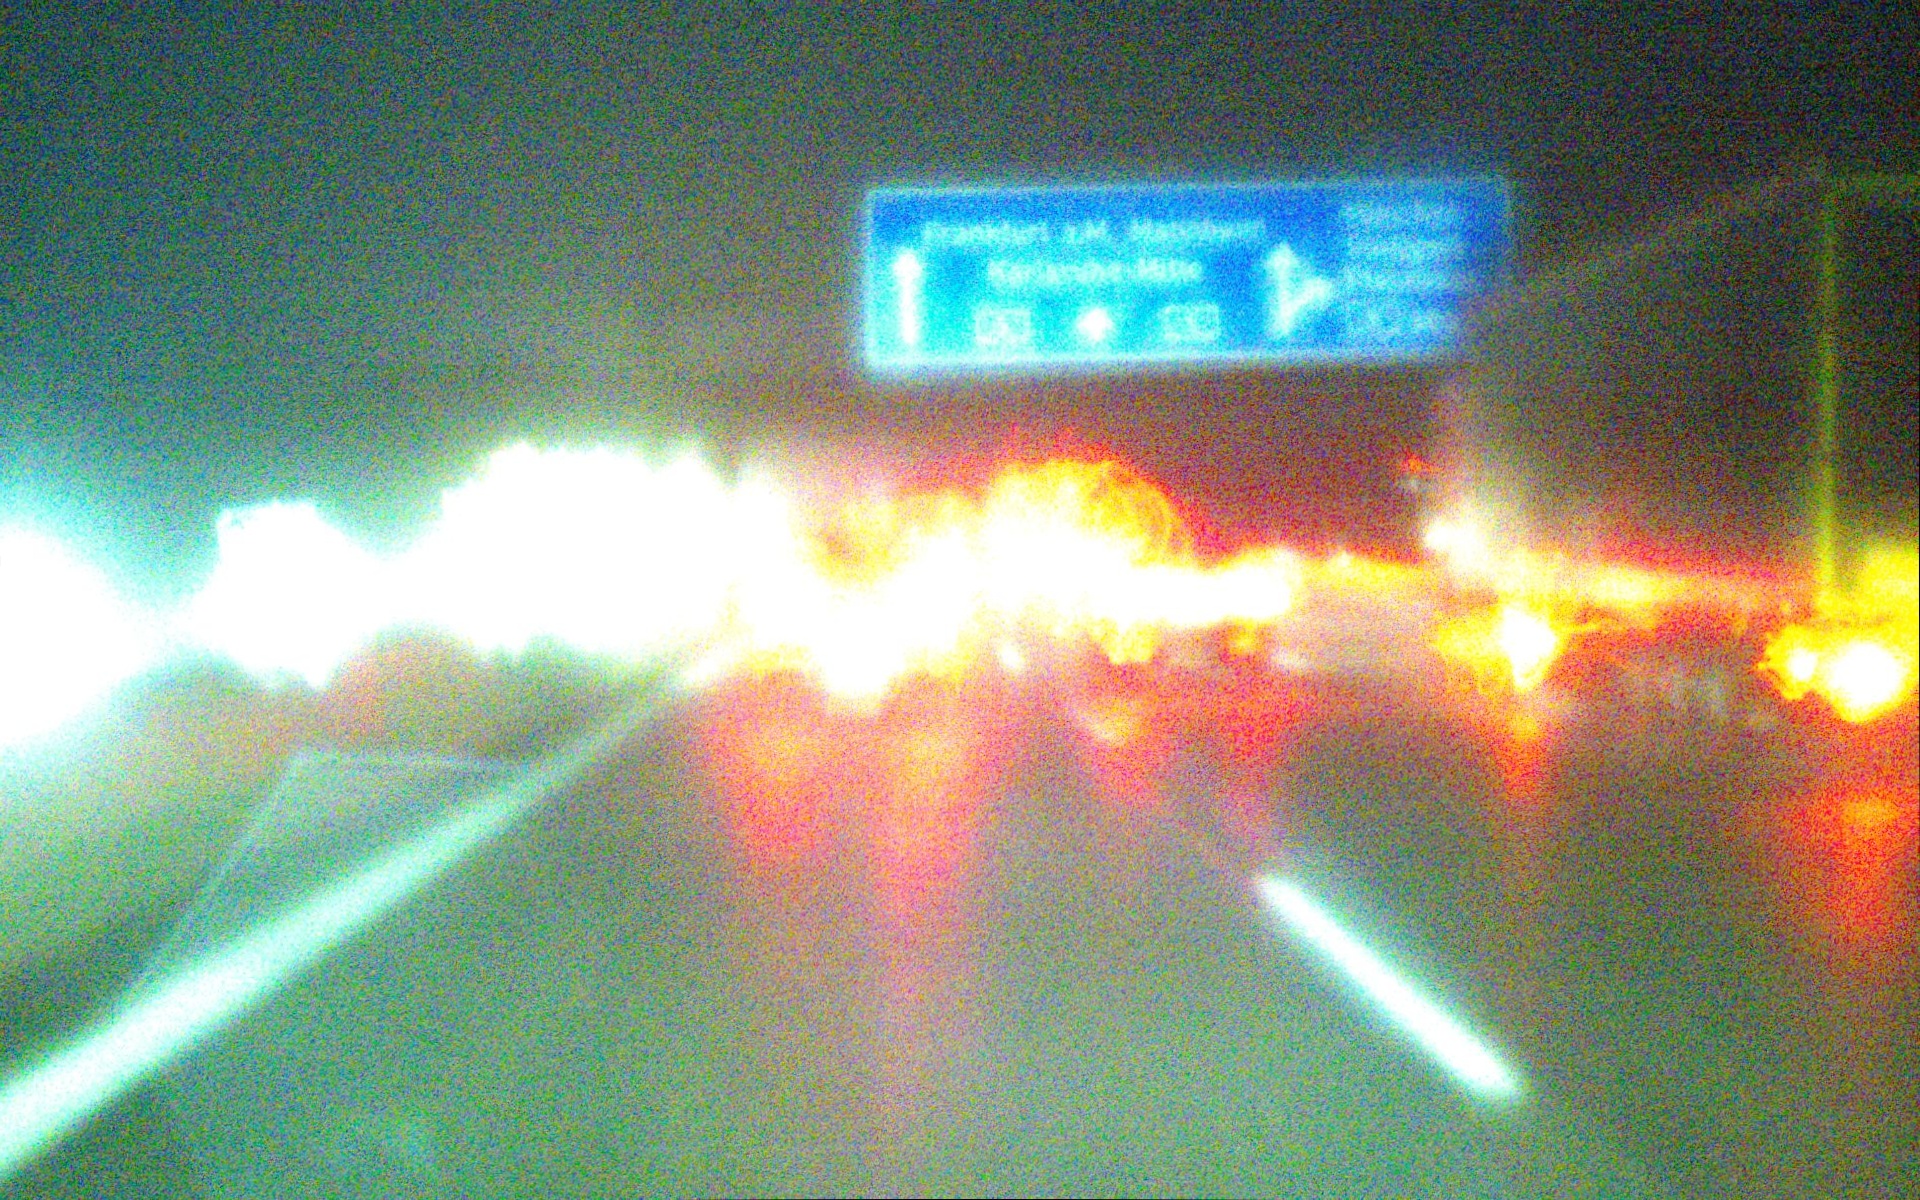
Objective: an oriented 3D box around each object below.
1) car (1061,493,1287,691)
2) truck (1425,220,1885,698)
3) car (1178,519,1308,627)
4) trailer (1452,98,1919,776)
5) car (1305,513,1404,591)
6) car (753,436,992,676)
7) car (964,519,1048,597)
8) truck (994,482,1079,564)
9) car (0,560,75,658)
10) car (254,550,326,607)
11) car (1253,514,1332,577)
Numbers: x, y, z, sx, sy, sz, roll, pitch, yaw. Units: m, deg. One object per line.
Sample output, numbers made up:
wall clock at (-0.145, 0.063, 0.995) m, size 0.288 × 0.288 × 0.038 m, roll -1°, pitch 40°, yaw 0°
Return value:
car at (2.298, -0.129, 37.964) m, size 1.993 × 2.007 × 4.001 m, roll -2°, pitch 1°, yaw -3°
truck at (6.506, -1.303, 33.101) m, size 3.041 × 4.094 × 5.799 m, roll -2°, pitch 1°, yaw -1°
car at (5.574, -0.562, 68.228) m, size 1.993 × 2.007 × 4.001 m, roll -2°, pitch 1°, yaw -3°
trailer at (6.667, -1.178, 27.778) m, size 3.041 × 4.094 × 13.830 m, roll -2°, pitch 1°, yaw -1°
car at (10.785, -1.331, 94.182) m, size 1.993 × 2.007 × 4.001 m, roll -2°, pitch 1°, yaw -3°
car at (-0.793, -0.414, 31.240) m, size 1.993 × 2.007 × 4.000 m, roll 1°, pitch 1°, yaw -1°
car at (1.232, -1.170, 94.214) m, size 1.993 × 2.007 × 4.001 m, roll -2°, pitch 1°, yaw -3°
truck at (3.186, -3.279, 146.391) m, size 3.037 × 3.286 × 11.382 m, roll -2°, pitch 1°, yaw -1°
car at (-18.508, 0.170, 65.873) m, size 1.993 × 1.755 × 4.960 m, roll -2°, pitch 1°, yaw -3°
car at (-24.827, -0.816, 127.545) m, size 1.993 × 2.007 × 4.001 m, roll -2°, pitch 1°, yaw -3°
car at (11.033, -1.823, 114.204) m, size 1.993 × 2.007 × 4.001 m, roll -2°, pitch 1°, yaw -3°
